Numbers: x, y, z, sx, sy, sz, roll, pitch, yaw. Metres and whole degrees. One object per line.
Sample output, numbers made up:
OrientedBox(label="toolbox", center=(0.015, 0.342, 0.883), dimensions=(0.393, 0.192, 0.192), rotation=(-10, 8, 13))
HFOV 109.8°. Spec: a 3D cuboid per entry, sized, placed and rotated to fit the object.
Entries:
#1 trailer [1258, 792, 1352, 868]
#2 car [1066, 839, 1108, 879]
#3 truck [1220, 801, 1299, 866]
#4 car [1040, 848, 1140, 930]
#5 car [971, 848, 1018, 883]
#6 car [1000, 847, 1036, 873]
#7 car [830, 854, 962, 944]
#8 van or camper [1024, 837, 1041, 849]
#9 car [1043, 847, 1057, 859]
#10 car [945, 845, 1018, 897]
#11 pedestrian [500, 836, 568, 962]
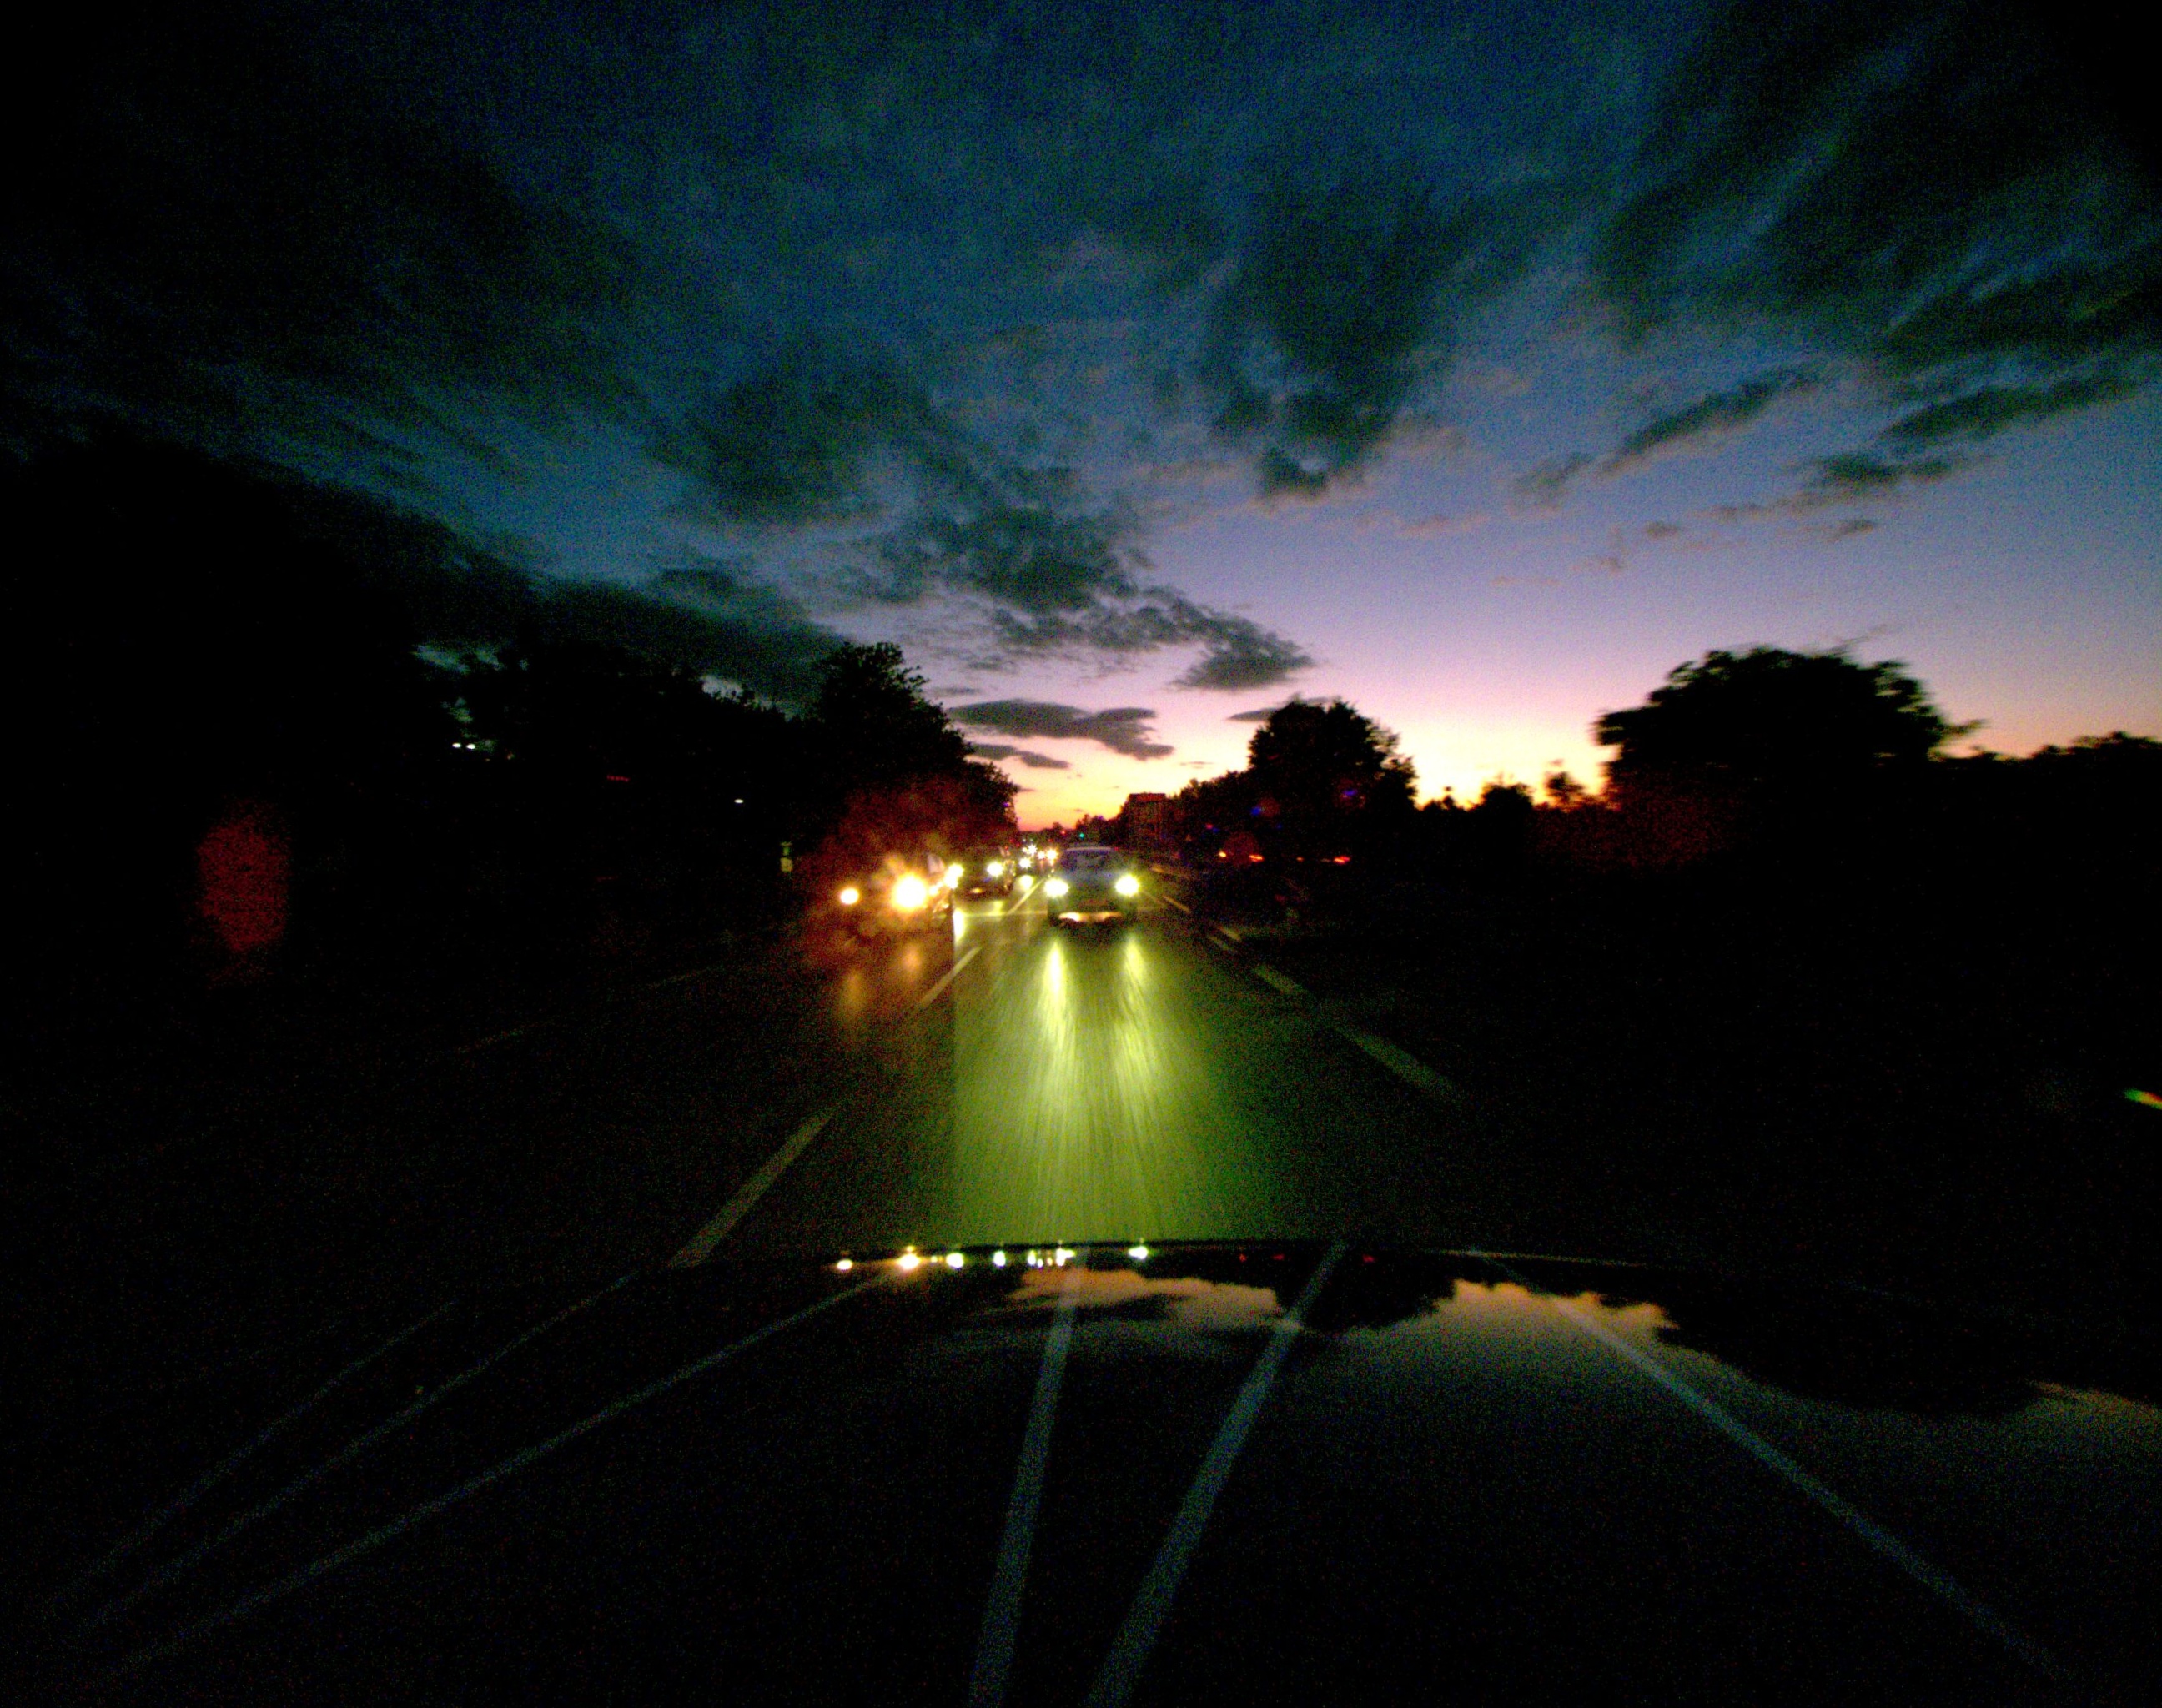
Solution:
OrientedBox(label="trailer", center=(12.687, -1.317, 43.982), dimensions=(2.583, 3.920, 8.874), rotation=(0, 1, -1))
OrientedBox(label="car", center=(0.289, 0.200, 35.409), dimensions=(1.760, 1.692, 4.249), rotation=(-2, 0, 0))
OrientedBox(label="truck", center=(12.353, -1.395, 53.679), dimensions=(2.733, 4.094, 10.341), rotation=(-2, 1, -2))
OrientedBox(label="car", center=(0.182, 0.660, 16.767), dimensions=(1.819, 1.428, 4.645), rotation=(-4, 0, 0))
OrientedBox(label="car", center=(-3.758, 0.469, 33.535), dimensions=(1.621, 1.405, 3.755), rotation=(-2, 0, 0))
OrientedBox(label="car", center=(-3.682, 0.334, 45.002), dimensions=(1.819, 1.360, 3.999), rotation=(-3, 1, -1))
OrientedBox(label="car", center=(-3.574, 0.794, 15.327), dimensions=(1.663, 1.528, 3.714), rotation=(-2, 0, 0))
OrientedBox(label="van or camper", center=(-12.681, -2.996, 200.814), dimensions=(3.949, 3.107, 9.940), rotation=(0, 1, 0))
OrientedBox(label="car", center=(-3.532, -0.156, 86.923), dimensions=(1.606, 1.291, 3.551), rotation=(0, 1, -3))
OrientedBox(label="car", center=(-3.402, 0.546, 26.758), dimensions=(1.902, 1.548, 4.300), rotation=(-3, 0, 0))
OrientedBox(label="pedestrian", center=(-9.134, 0.721, 12.688), dimensions=(0.782, 2.002, 0.712), rotation=(-4, 2, -39))
